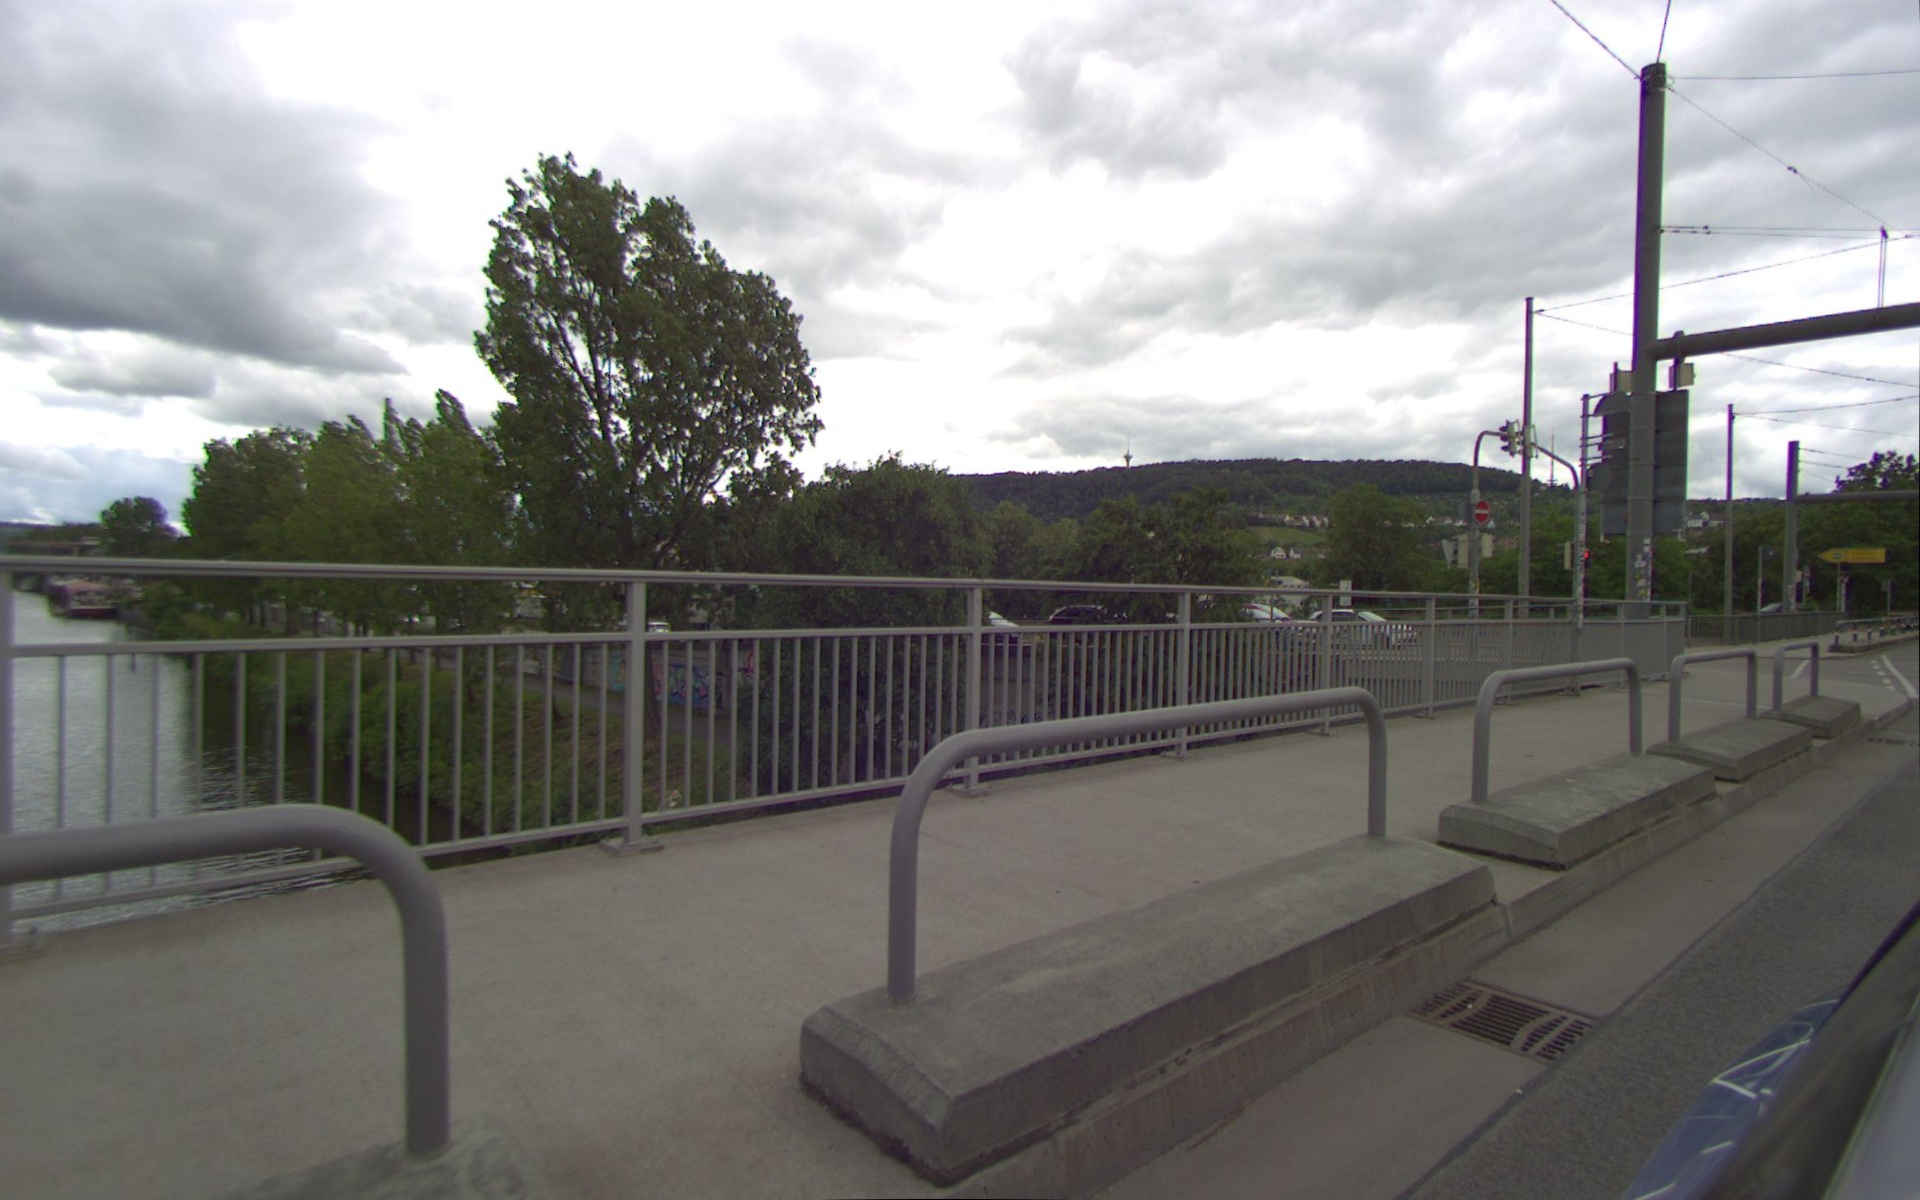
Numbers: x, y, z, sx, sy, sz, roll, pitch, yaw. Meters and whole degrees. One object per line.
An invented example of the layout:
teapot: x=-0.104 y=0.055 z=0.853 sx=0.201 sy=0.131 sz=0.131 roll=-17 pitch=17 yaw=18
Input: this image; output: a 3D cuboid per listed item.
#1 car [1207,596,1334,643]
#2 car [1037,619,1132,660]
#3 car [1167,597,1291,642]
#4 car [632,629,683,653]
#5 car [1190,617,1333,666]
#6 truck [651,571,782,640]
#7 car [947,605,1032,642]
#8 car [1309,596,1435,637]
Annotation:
car: x=10.929 y=0.673 z=35.851 sx=1.667 sy=1.559 sz=3.999 roll=-1 pitch=0 yaw=-43
car: x=5.038 y=1.586 z=41.233 sx=1.667 sy=1.559 sz=3.615 roll=0 pitch=-1 yaw=-43
car: x=10.537 y=0.737 z=39.850 sx=1.966 sy=1.640 sz=4.334 roll=-1 pitch=0 yaw=-41
car: x=-22.165 y=2.974 z=74.074 sx=1.889 sy=1.559 sz=4.382 roll=0 pitch=-1 yaw=-43
car: x=9.655 y=1.287 z=32.643 sx=1.668 sy=1.438 sz=4.143 roll=-1 pitch=0 yaw=-43
truck: x=-15.396 y=0.327 z=63.272 sx=3.173 sy=3.928 sz=10.401 roll=1 pitch=-1 yaw=-44
car: x=1.287 y=1.036 z=45.436 sx=1.667 sy=1.559 sz=3.751 roll=0 pitch=-1 yaw=-43
car: x=14.541 y=0.585 z=35.828 sx=1.761 sy=1.330 sz=3.756 roll=-1 pitch=0 yaw=-43
